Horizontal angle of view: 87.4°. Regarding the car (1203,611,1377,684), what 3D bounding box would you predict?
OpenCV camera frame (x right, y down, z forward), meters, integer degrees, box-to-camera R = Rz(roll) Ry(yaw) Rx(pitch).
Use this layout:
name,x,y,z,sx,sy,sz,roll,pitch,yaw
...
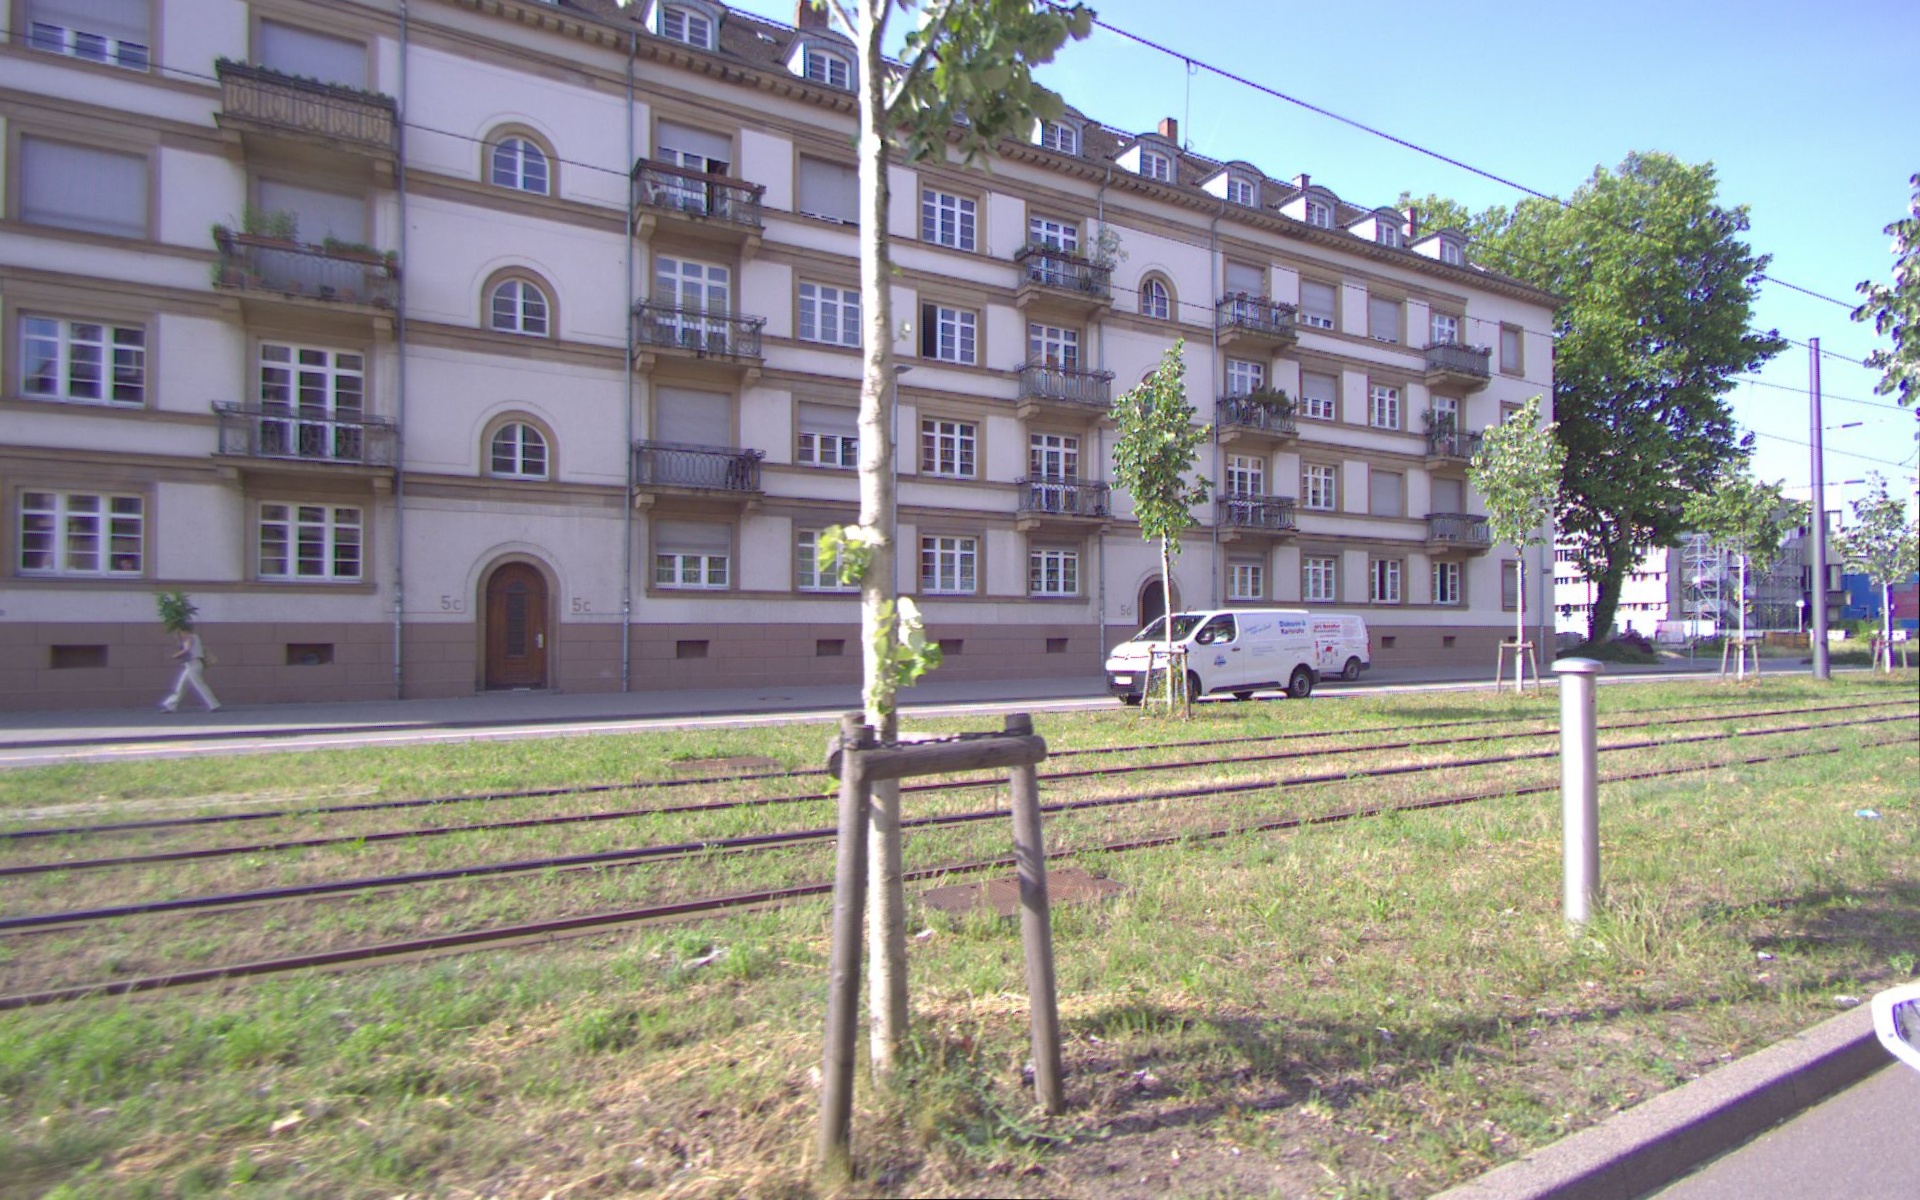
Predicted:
name,x,y,z,sx,sy,sz,roll,pitch,yaw
car,9.762,1.331,29.590,5.090,1.944,1.984,1,0,-30

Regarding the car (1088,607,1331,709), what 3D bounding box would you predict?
name,x,y,z,sx,sy,sz,roll,pitch,yaw
car,5.270,1.145,21.031,4.986,1.920,1.984,1,-2,-30

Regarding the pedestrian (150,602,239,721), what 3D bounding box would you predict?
name,x,y,z,sx,sy,sz,roll,pitch,yaw
pedestrian,-13.866,1.085,18.232,1.142,2.096,0.838,1,0,-29

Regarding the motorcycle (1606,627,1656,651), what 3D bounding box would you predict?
name,x,y,z,sx,sy,sz,roll,pitch,yaw
motorcycle,38.867,2.235,58.194,2.253,1.387,0.818,-1,-1,24
